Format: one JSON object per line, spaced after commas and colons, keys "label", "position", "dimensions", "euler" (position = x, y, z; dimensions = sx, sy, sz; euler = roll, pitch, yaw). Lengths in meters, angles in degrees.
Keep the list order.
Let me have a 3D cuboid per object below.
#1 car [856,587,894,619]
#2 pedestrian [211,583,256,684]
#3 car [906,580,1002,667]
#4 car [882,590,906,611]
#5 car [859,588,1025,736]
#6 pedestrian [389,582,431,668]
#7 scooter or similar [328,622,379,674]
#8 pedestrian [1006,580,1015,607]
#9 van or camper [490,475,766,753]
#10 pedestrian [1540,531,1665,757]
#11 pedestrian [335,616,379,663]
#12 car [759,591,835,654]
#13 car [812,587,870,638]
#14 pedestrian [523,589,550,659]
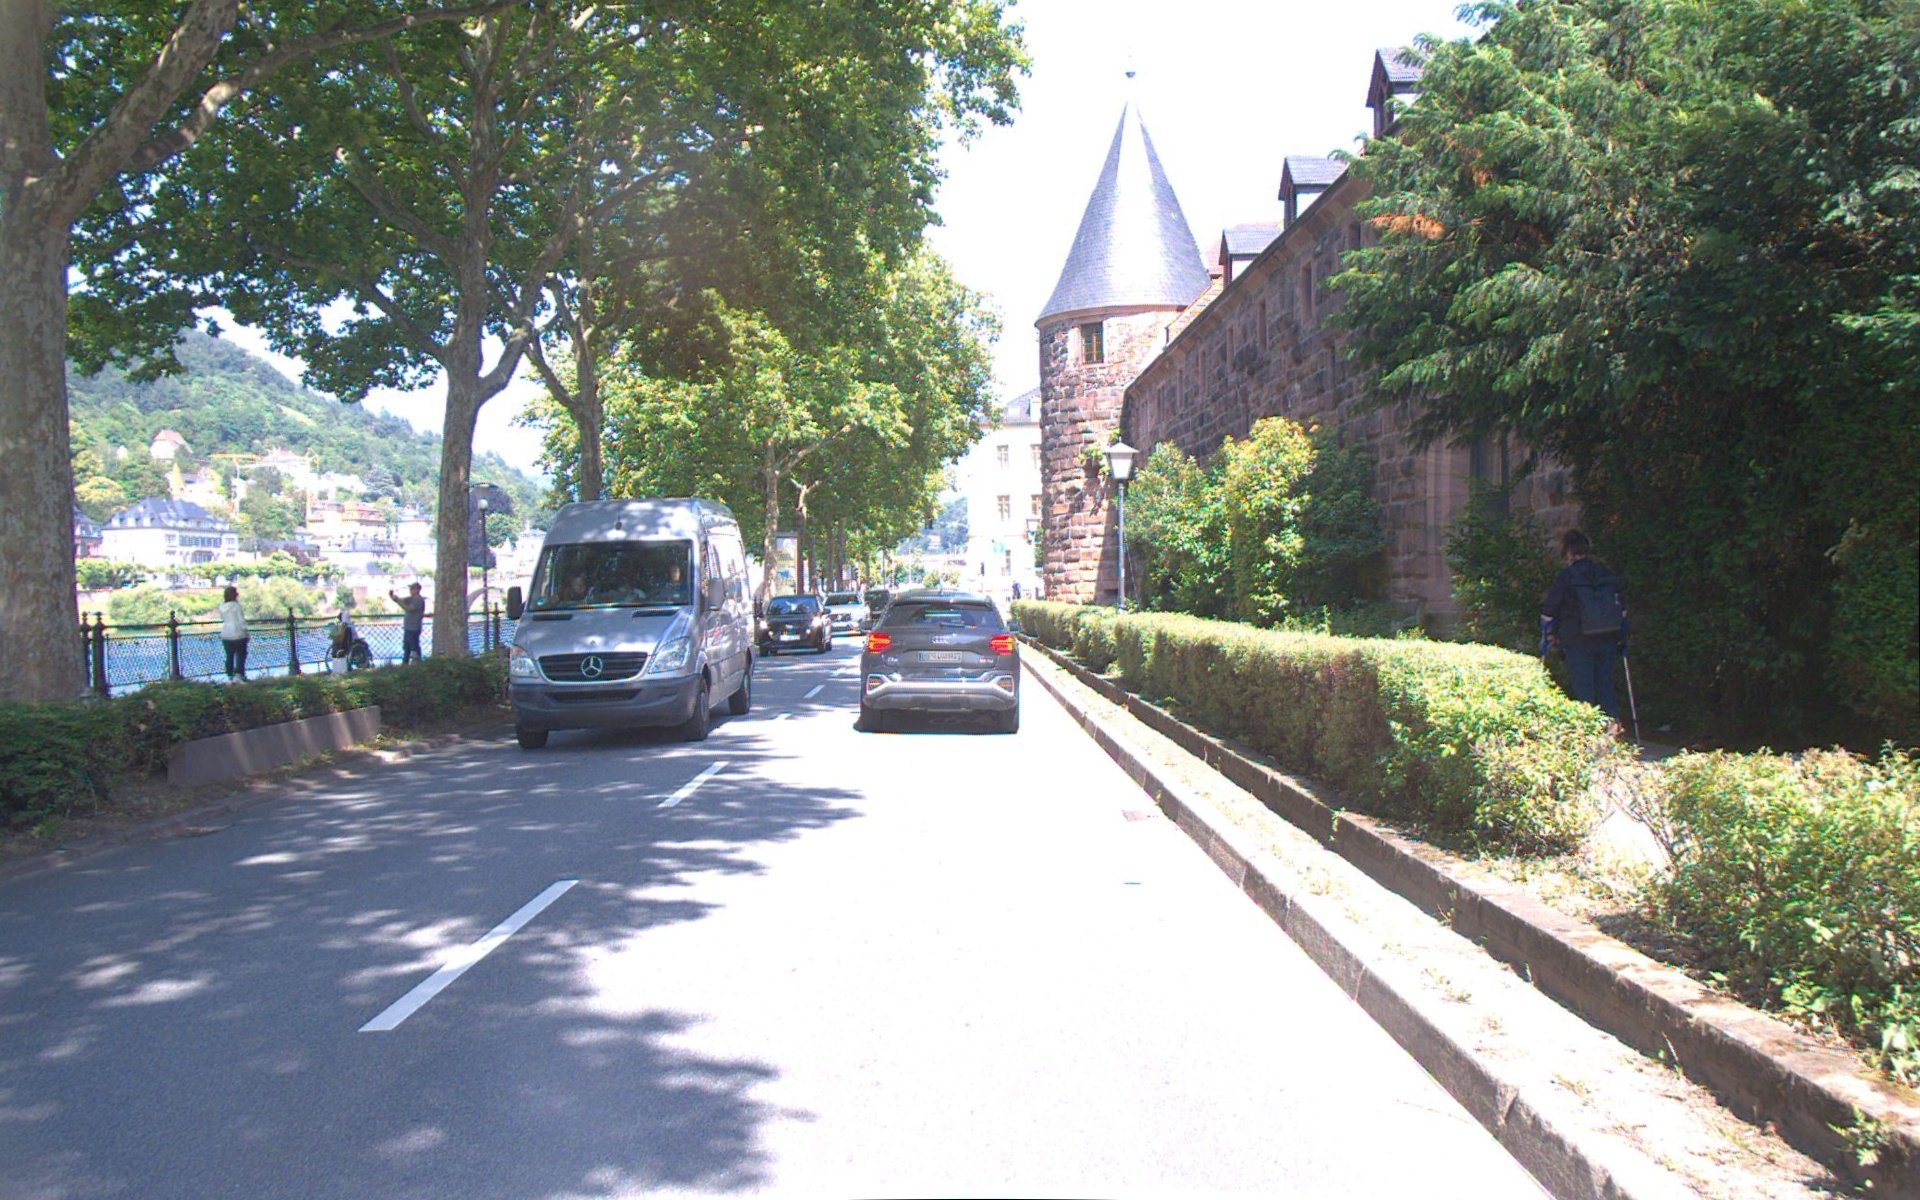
{"label": "car", "position": [-4.541, 0.148, 88.823], "dimensions": [1.727, 1.676, 4.090], "euler": [-1, 0, 1]}
{"label": "pedestrian", "position": [-12.628, 0.578, 28.760], "dimensions": [0.572, 1.740, 0.403], "euler": [1, 0, -3]}
{"label": "car", "position": [-0.105, 0.418, 32.562], "dimensions": [1.764, 1.590, 3.716], "euler": [-1, 0, 0]}
{"label": "car", "position": [-5.028, 0.059, 126.653], "dimensions": [1.581, 1.549, 3.477], "euler": [-1, 0, 1]}
{"label": "car", "position": [-0.240, 0.639, 19.072], "dimensions": [1.713, 1.520, 3.628], "euler": [1, 0, -2]}
{"label": "pedestrian", "position": [-10.662, 0.486, 32.083], "dimensions": [0.631, 1.647, 0.458], "euler": [1, 0, -3]}
{"label": "scooter or similar", "position": [-11.935, 0.943, 32.587], "dimensions": [0.618, 0.985, 1.012], "euler": [1, 0, -1]}
{"label": "pedestrian", "position": [3.120, -0.383, 102.539], "dimensions": [0.545, 1.661, 0.660], "euler": [1, 0, 0]}
{"label": "van or camper", "position": [-3.575, 0.132, 19.034], "dimensions": [1.921, 2.612, 5.840], "euler": [-3, 0, -1]}
{"label": "pedestrian", "position": [4.915, 0.327, 12.693], "dimensions": [0.684, 1.681, 0.705], "euler": [-1, 0, 2]}
{"label": "pedestrian", "position": [-11.935, 0.773, 32.744], "dimensions": [0.595, 0.899, 0.705], "euler": [-1, 0, -1]}
{"label": "car", "position": [-4.109, 0.531, 42.143], "dimensions": [1.616, 1.495, 3.778], "euler": [-1, 0, -2]}
{"label": "car", "position": [-4.368, 0.454, 61.210], "dimensions": [1.839, 1.728, 4.257], "euler": [-3, 0, -2]}
{"label": "pedestrian", "position": [-9.646, 0.537, 37.657], "dimensions": [0.448, 1.581, 0.585], "euler": [-1, 0, -1]}
